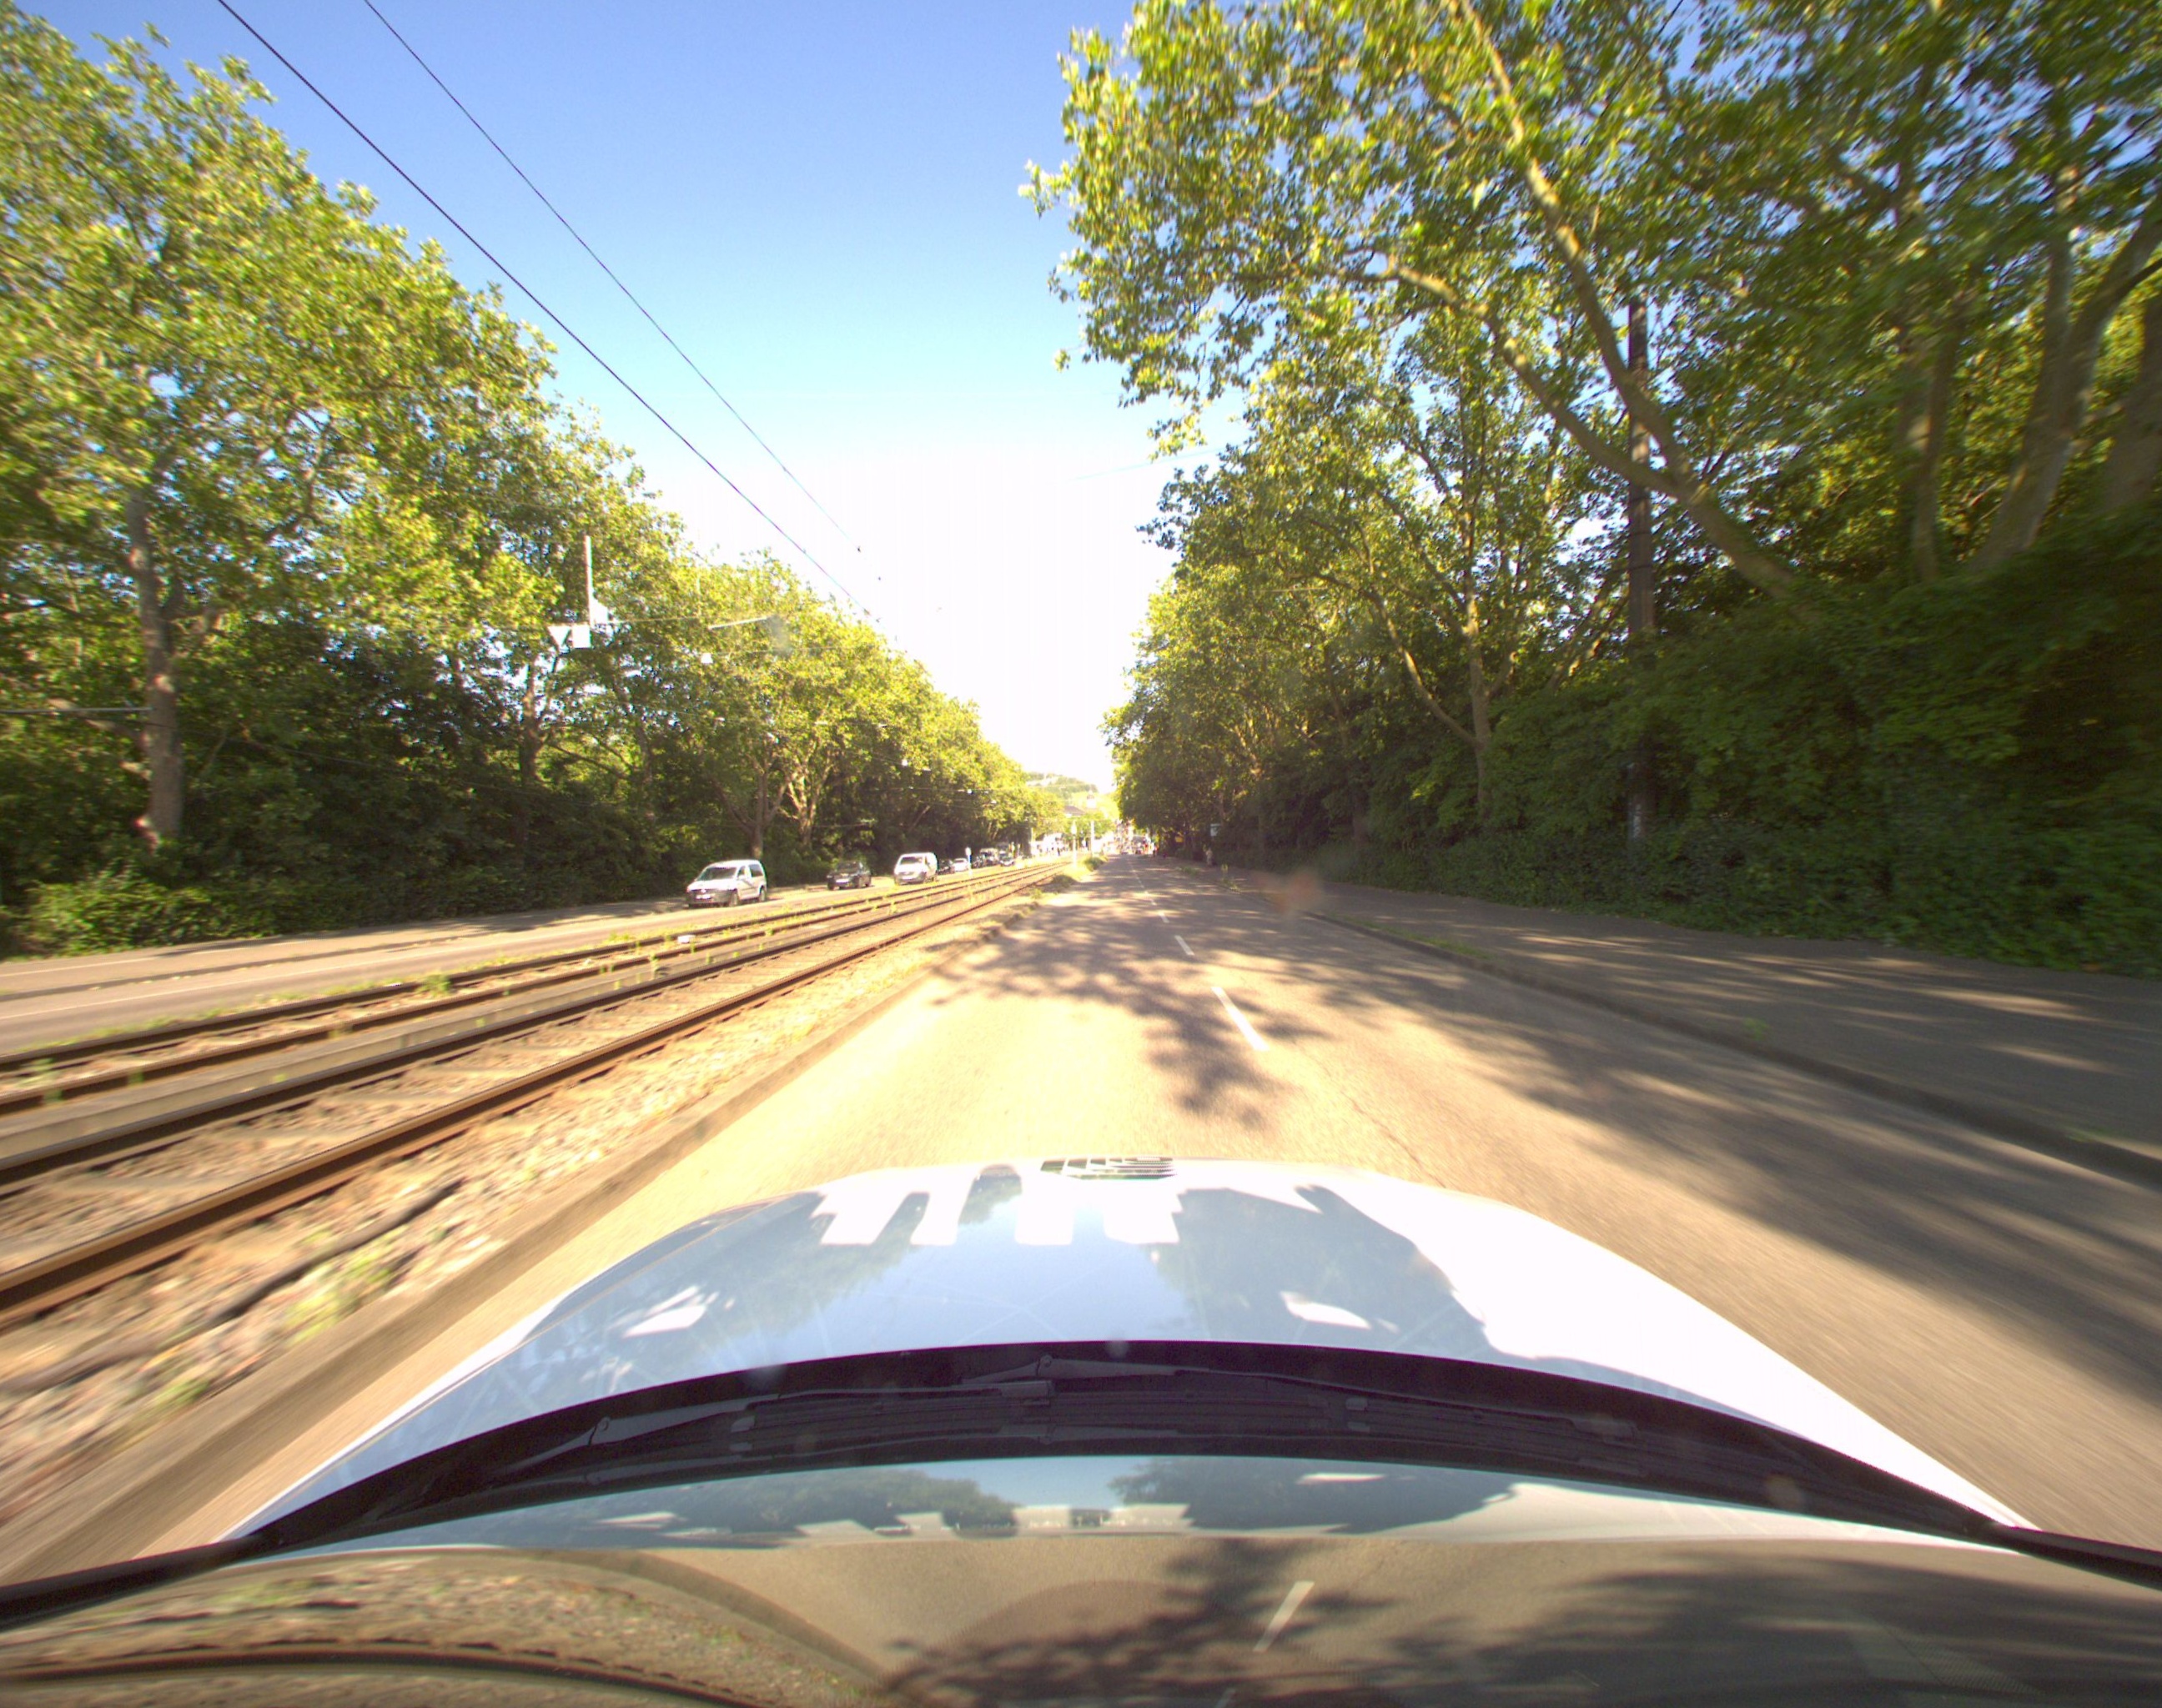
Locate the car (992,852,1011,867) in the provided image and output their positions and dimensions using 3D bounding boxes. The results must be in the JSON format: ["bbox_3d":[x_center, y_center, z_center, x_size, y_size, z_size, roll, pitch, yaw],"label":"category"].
[{"bbox_3d":[-13.762,0.881,140.572,2.384,2.523,5.903,-2,0,2],"label":"car"}]

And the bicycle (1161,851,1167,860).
[{"bbox_3d":[13.057,0.237,128.192,0.883,1.321,2.641,-2,0,2],"label":"bicycle"}]

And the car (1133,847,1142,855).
[{"bbox_3d":[15.415,-0.722,221.839,2.384,1.999,5.308,-2,0,2],"label":"car"}]

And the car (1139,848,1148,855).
[{"bbox_3d":[17.724,-0.642,231.247,2.384,1.999,5.308,-2,0,2],"label":"car"}]

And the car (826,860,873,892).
[{"bbox_3d":[-13.534,1.258,47.802,1.738,1.636,3.996,-3,0,-3],"label":"car"}]

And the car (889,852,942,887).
[{"bbox_3d":[-10.279,0.913,51.102,1.987,1.844,5.302,-7,0,1],"label":"car"}]

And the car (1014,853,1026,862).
[{"bbox_3d":[-12.397,0.739,165.106,1.987,1.697,4.745,-2,0,1],"label":"car"}]

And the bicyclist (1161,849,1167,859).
[{"bbox_3d":[13.059,-0.028,128.291,0.883,1.638,1.165,-2,0,2],"label":"bicyclist"}]

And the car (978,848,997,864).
[{"bbox_3d":[-13.509,0.258,118.200,1.987,2.164,5.815,-2,0,1],"label":"car"}]

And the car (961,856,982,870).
[{"bbox_3d":[-13.912,1.134,103.604,1.987,1.697,4.745,-2,0,1],"label":"car"}]

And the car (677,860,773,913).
[{"bbox_3d":[-14.113,1.238,32.609,1.736,1.743,4.513,-5,1,-1],"label":"car"}]

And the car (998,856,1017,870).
[{"bbox_3d":[-9.808,1.176,108.345,1.987,1.697,4.745,-2,0,1],"label":"car"}]

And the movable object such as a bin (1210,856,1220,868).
[{"bbox_3d":[11.310,0.666,68.735,0.800,0.947,0.657,-2,0,5],"label":"movable object such as a bin"}]

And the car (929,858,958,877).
[{"bbox_3d":[-13.526,1.312,80.481,1.987,1.697,4.745,-2,0,1],"label":"car"}]

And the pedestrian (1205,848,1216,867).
[{"bbox_3d":[11.063,0.309,69.438,0.800,1.546,0.815,-2,0,6],"label":"pedestrian"}]

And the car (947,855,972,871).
[{"bbox_3d":[-13.684,0.986,92.105,1.987,1.697,4.745,-2,0,1],"label":"car"}]

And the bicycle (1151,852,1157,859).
[{"bbox_3d":[13.568,0.220,151.879,0.883,1.321,2.641,-2,0,2],"label":"bicycle"}]

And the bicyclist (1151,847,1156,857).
[{"bbox_3d":[13.556,-0.386,151.679,0.883,1.774,1.223,-2,0,2],"label":"bicyclist"}]

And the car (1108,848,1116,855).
[{"bbox_3d":[8.960,-0.723,236.490,2.384,1.999,5.308,-2,0,2],"label":"car"}]

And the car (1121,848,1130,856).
[{"bbox_3d":[12.475,-0.520,226.744,2.384,1.999,5.308,-2,0,2],"label":"car"}]
